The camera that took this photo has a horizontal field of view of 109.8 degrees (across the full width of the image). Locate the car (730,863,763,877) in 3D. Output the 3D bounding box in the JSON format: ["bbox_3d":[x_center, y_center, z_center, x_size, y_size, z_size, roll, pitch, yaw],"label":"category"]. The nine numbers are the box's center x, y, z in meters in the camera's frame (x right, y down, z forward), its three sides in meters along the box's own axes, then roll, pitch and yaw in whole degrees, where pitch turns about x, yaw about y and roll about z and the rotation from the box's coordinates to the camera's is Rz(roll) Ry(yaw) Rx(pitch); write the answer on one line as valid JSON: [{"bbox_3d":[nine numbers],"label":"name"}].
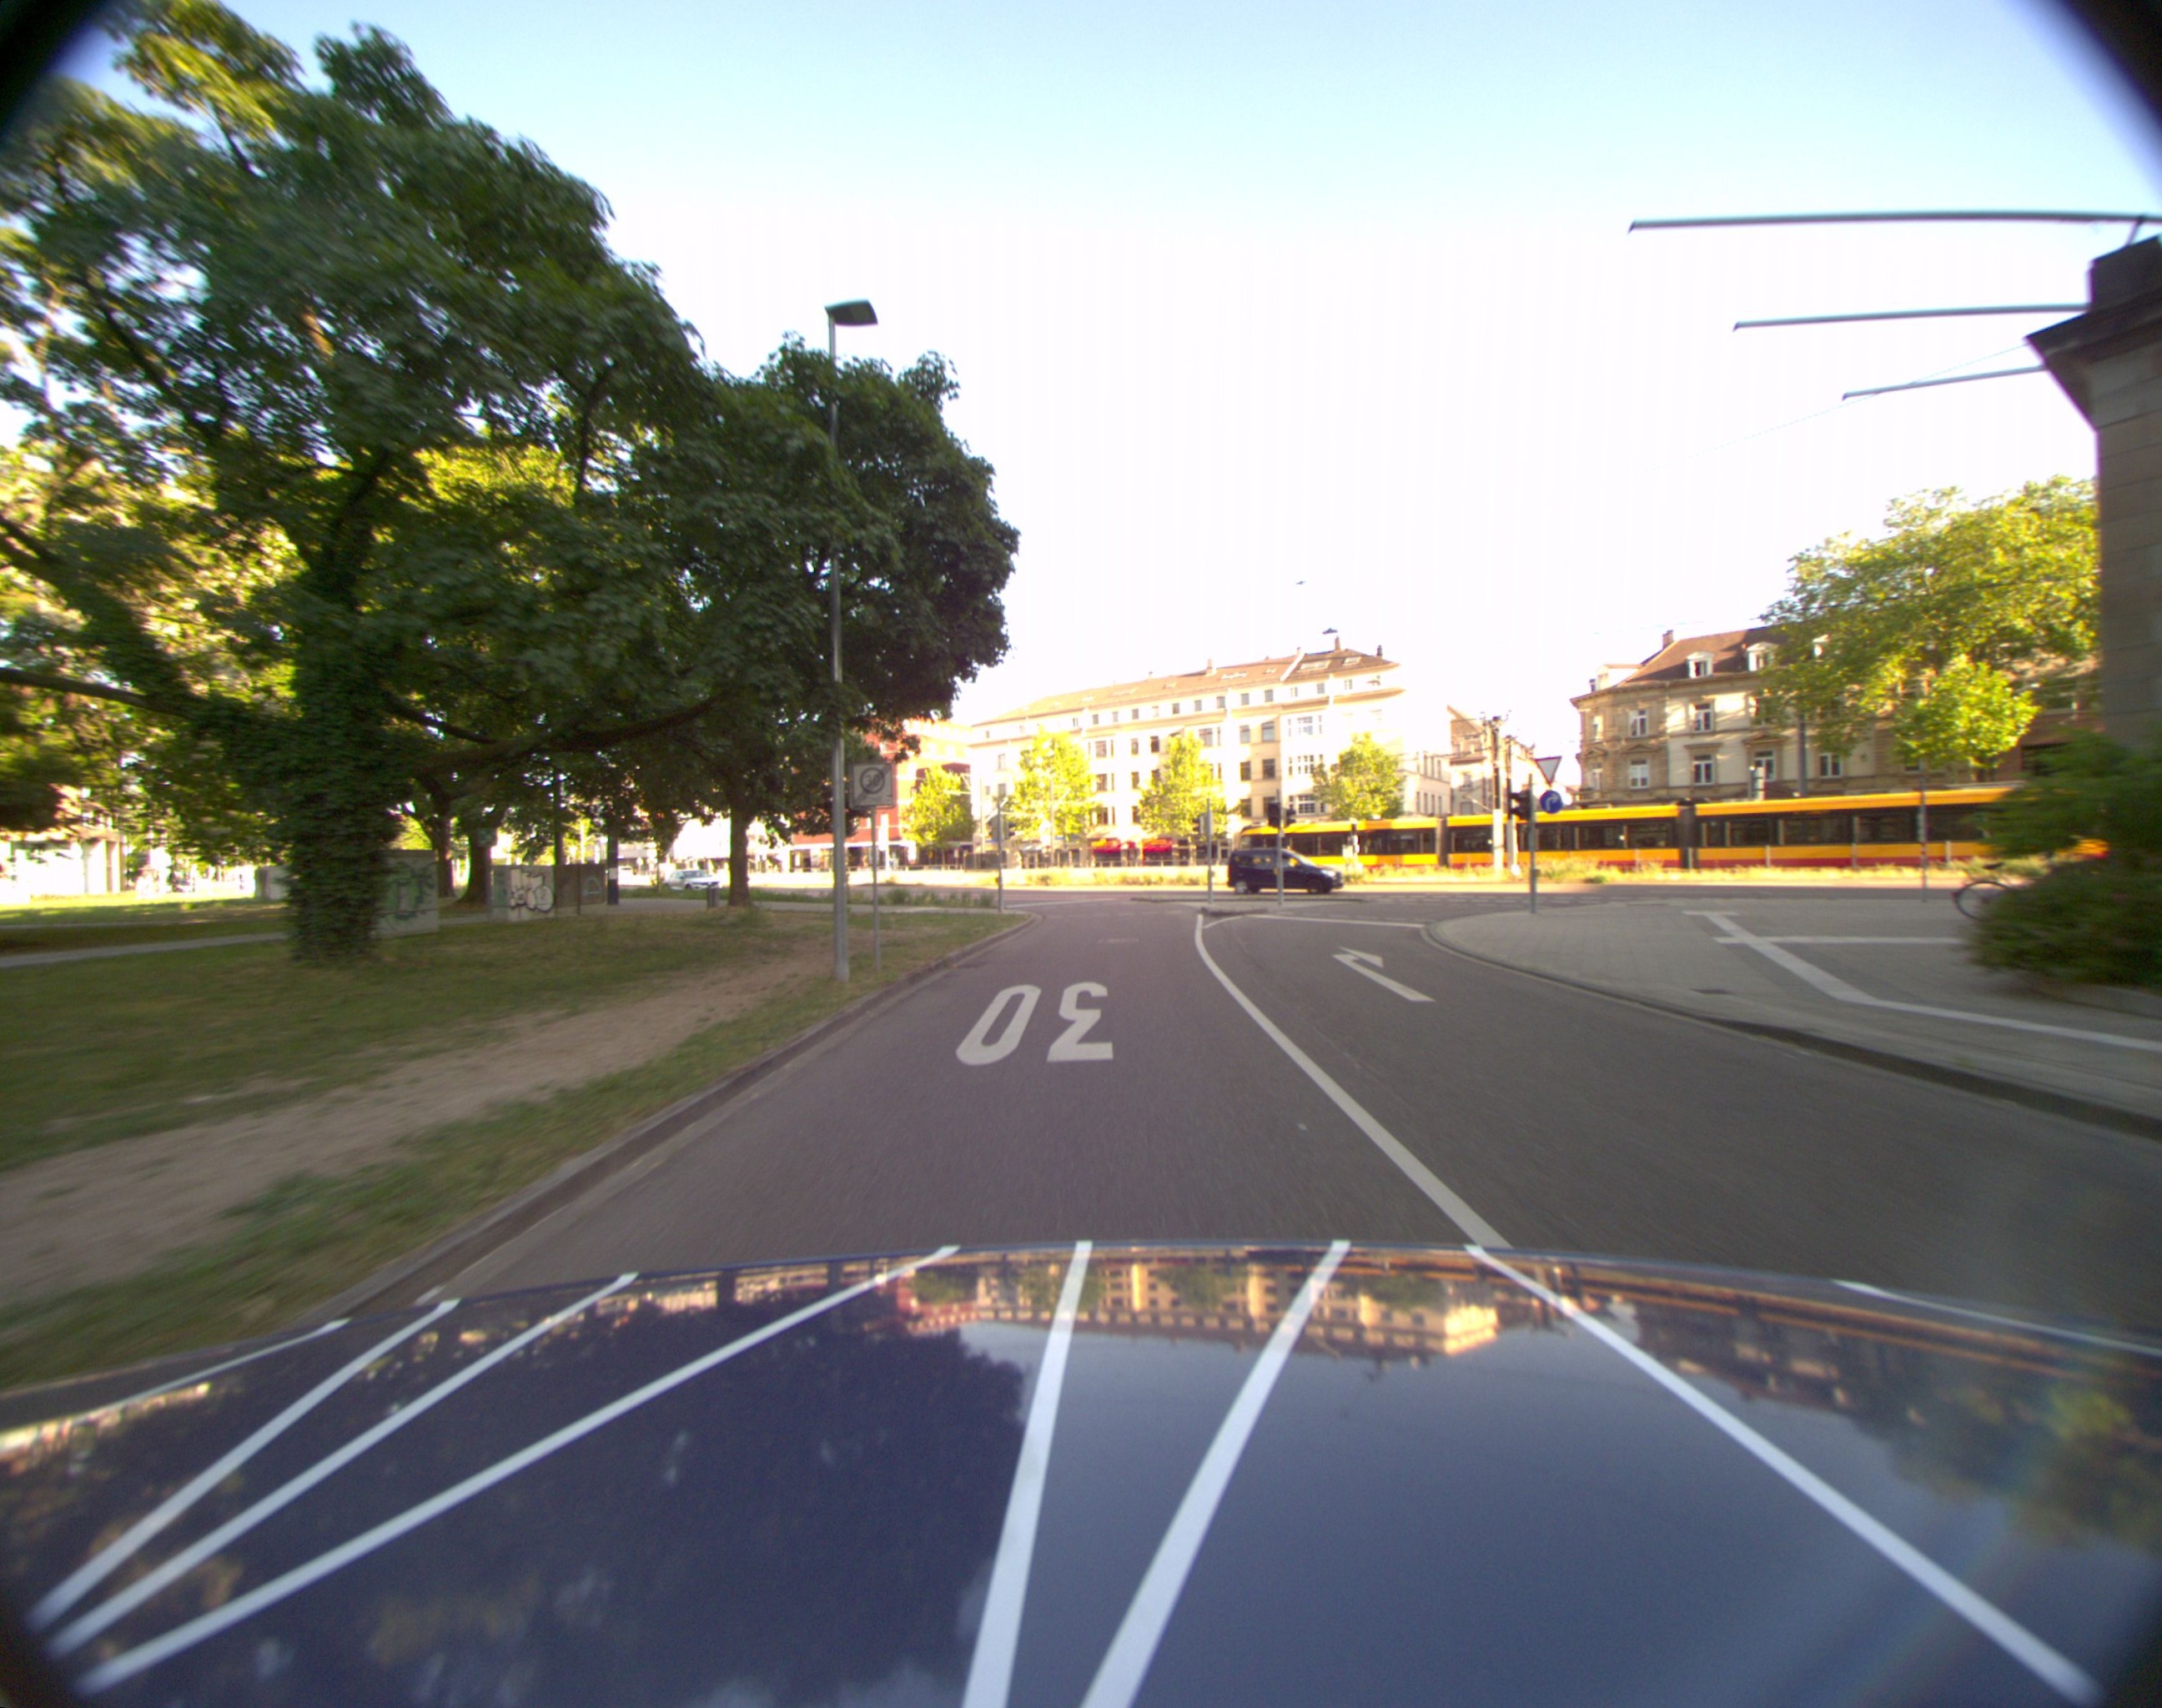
[{"bbox_3d":[-46.578,2.196,105.877,4.729,1.786,2.004,-2,0,35],"label":"car"}]

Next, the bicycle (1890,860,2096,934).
[{"bbox_3d":[16.021,0.712,13.423,0.871,1.189,2.234,-1,0,-33],"label":"bicycle"}]

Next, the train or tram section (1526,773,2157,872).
[{"bbox_3d":[32.208,-0.993,35.044,19.876,3.538,3.129,-1,0,42],"label":"train or tram section"}]

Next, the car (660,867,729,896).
[{"bbox_3d":[-22.732,1.600,44.677,4.266,1.528,1.838,-1,2,37],"label":"car"}]

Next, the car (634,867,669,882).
[{"bbox_3d":[-55.719,2.661,98.582,4.881,1.786,2.004,-2,0,35],"label":"car"}]

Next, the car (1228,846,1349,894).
[{"bbox_3d":[7.954,0.626,29.246,4.136,1.722,1.774,-1,0,33],"label":"car"}]

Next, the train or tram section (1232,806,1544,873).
[{"bbox_3d":[18.013,-0.649,46.556,17.428,3.538,3.129,-1,0,36],"label":"train or tram section"}]
